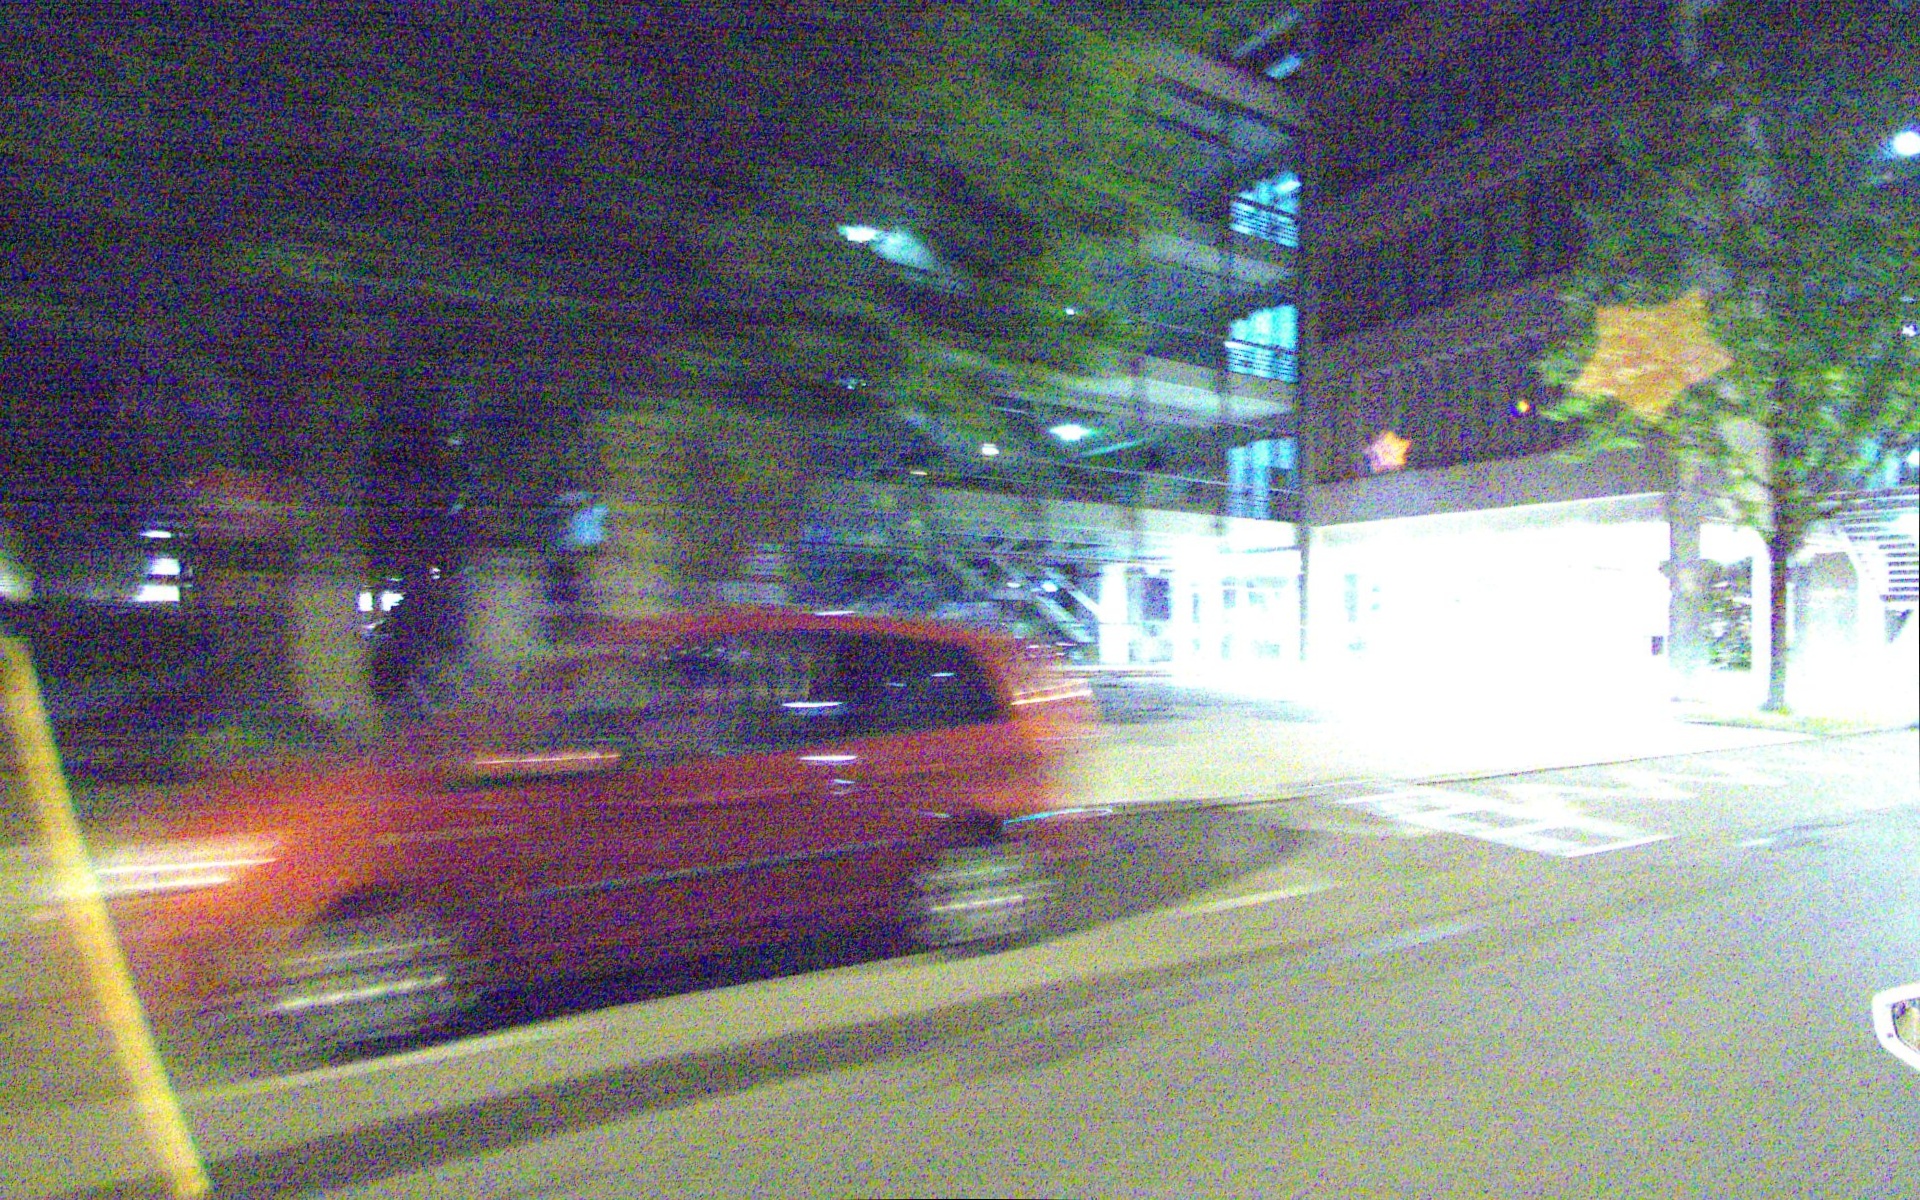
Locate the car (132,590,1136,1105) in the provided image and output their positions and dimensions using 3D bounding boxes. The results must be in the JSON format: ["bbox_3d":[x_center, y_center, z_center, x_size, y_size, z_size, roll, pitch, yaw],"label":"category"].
[{"bbox_3d":[-1.298,0.817,4.978,4.023,1.620,1.814,1,1,-29],"label":"car"}]
